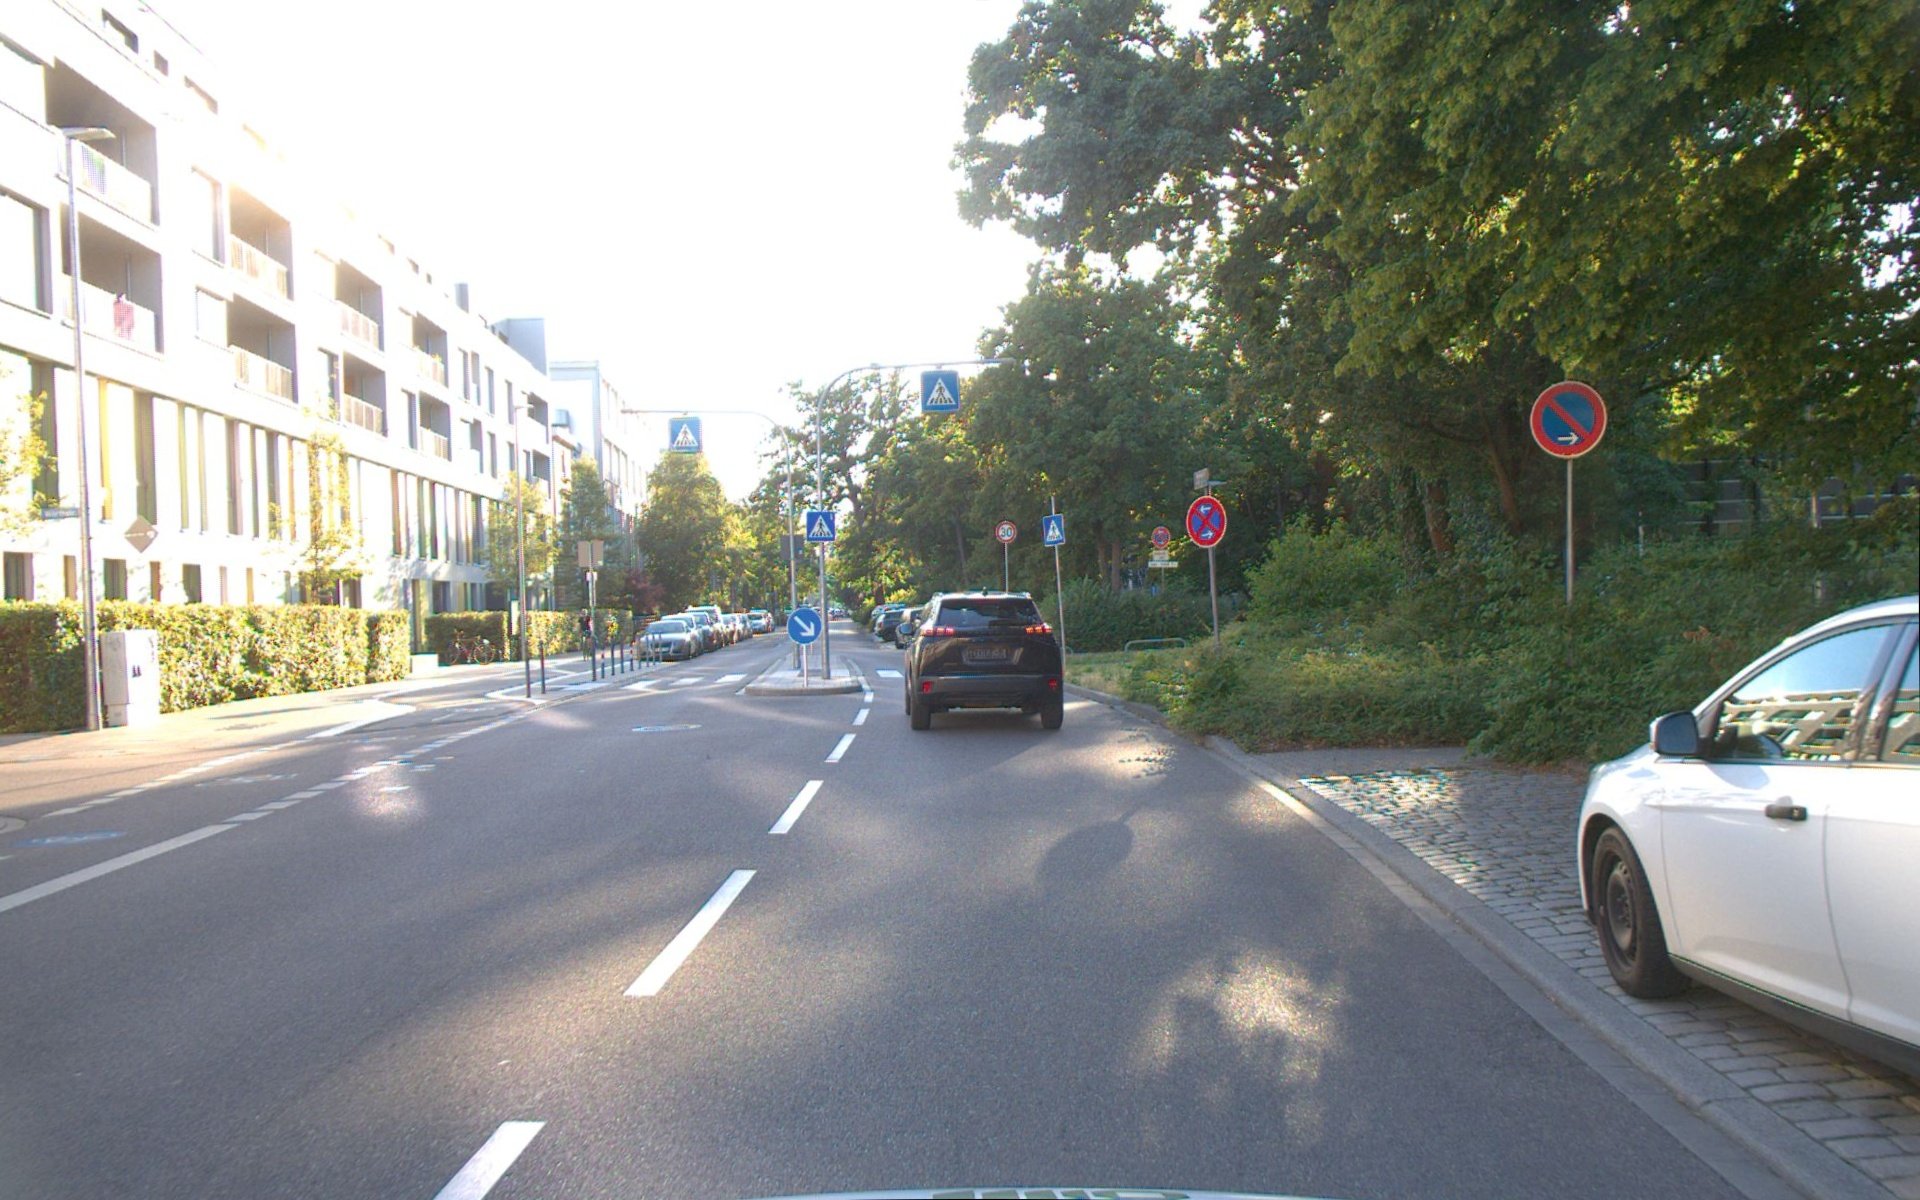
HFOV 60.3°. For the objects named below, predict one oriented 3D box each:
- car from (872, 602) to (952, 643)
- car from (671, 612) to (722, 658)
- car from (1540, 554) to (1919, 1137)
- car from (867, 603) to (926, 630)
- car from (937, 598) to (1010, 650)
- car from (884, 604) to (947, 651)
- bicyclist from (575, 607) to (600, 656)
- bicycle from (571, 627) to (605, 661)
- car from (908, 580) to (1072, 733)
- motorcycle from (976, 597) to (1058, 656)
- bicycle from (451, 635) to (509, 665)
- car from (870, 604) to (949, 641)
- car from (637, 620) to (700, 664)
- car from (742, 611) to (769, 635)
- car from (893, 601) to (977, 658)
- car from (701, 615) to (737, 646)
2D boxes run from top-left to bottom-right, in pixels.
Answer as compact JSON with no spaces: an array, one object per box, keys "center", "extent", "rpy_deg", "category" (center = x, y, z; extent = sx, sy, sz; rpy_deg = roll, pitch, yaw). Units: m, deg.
[{"center":[-2.294,1.049,78.015],"extent":[3.542,1.551,1.669],"rpy_deg":[-5,0,-7],"category":"car"},{"center":[-10.999,1.442,69.278],"extent":[1.708,1.705,4.411],"rpy_deg":[-3,0,-5],"category":"car"},{"center":[3.311,0.605,4.746],"extent":[1.712,1.512,4.175],"rpy_deg":[-2,0,-1],"category":"car"},{"center":[-4.493,1.168,117.139],"extent":[4.042,1.696,1.721],"rpy_deg":[-2,0,-5],"category":"car"},{"center":[0.404,0.745,52.293],"extent":[1.591,1.512,3.409],"rpy_deg":[-3,0,-11],"category":"car"},{"center":[-1.700,1.018,61.712],"extent":[1.621,1.595,4.290],"rpy_deg":[-3,0,-11],"category":"car"},{"center":[-12.905,1.095,57.335],"extent":[0.613,1.673,0.758],"rpy_deg":[-2,0,3],"category":"bicyclist"},{"center":[-12.882,1.503,57.295],"extent":[0.620,1.097,1.884],"rpy_deg":[-2,0,3],"category":"bicycle"},{"center":[0.279,0.615,19.693],"extent":[1.732,1.596,3.379],"rpy_deg":[-2,0,-2],"category":"car"},{"center":[1.650,0.747,47.622],"extent":[2.243,1.572,1.040],"rpy_deg":[-3,0,6],"category":"motorcycle"},{"center":[-15.748,1.637,54.277],"extent":[1.718,0.934,0.616],"rpy_deg":[-1,-1,-7],"category":"bicycle"},{"center":[-2.482,1.083,80.385],"extent":[3.597,1.469,1.732],"rpy_deg":[-5,0,-7],"category":"car"},{"center":[-10.215,1.443,58.250],"extent":[1.708,1.380,4.392],"rpy_deg":[-3,0,-4],"category":"car"},{"center":[-14.474,1.632,117.219],"extent":[1.638,1.519,4.058],"rpy_deg":[-3,0,-4],"category":"car"},{"center":[-0.901,1.005,56.788],"extent":[1.889,1.779,4.650],"rpy_deg":[-3,0,-13],"category":"car"},{"center":[-12.233,1.546,84.170],"extent":[1.568,1.480,3.857],"rpy_deg":[-2,0,-6],"category":"car"}]
